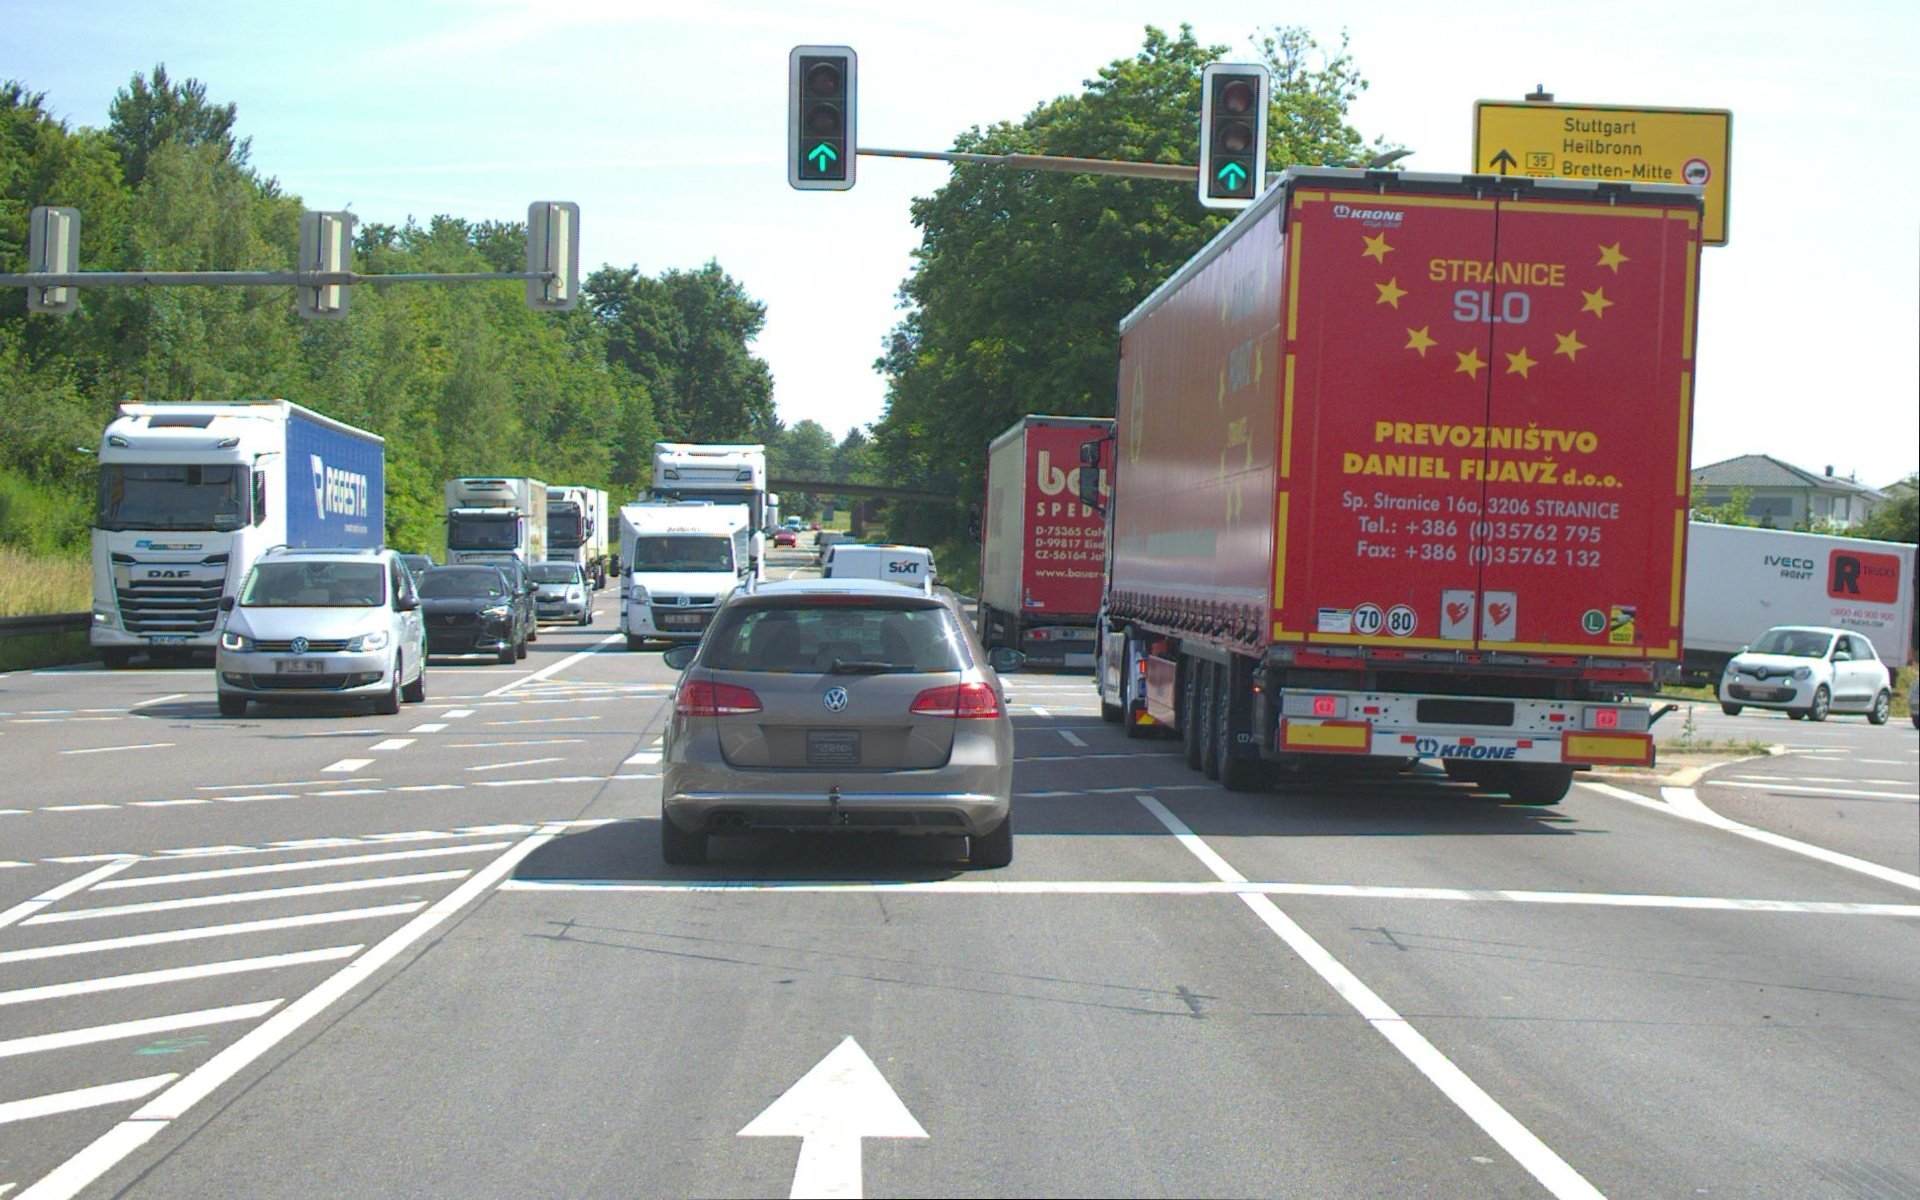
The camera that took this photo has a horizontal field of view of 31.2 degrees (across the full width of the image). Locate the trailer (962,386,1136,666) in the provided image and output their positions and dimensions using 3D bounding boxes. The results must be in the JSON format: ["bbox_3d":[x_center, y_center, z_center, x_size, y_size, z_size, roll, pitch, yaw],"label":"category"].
[{"bbox_3d":[1.355,-1.199,58.835,2.395,4.229,13.078,0,1,-1],"label":"trailer"}]

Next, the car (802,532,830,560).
[{"bbox_3d":[-10.709,-3.990,255.395,1.993,2.007,4.001,0,1,-3],"label":"car"}]

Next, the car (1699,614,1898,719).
[{"bbox_3d":[13.711,1.096,56.087,1.709,1.499,3.747,3,-1,38],"label":"car"}]

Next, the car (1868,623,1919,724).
[{"bbox_3d":[16.350,1.262,54.272,1.998,1.500,4.988,3,0,38],"label":"car"}]

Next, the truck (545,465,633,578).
[{"bbox_3d":[-13.930,-2.902,129.547,2.829,4.102,9.684,0,1,-3],"label":"truck"}]

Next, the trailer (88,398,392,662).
[{"bbox_3d":[-12.324,-1.162,60.360,3.093,4.066,14.129,0,1,-3],"label":"trailer"}]

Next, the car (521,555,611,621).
[{"bbox_3d":[-9.222,-0.299,80.780,1.725,1.497,4.000,0,1,-1],"label":"car"}]

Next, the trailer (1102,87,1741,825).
[{"bbox_3d":[3.071,-0.943,27.420,2.839,4.350,13.168,2,1,-1],"label":"trailer"}]

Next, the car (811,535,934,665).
[{"bbox_3d":[-1.392,-0.019,53.266,1.770,1.930,3.978,0,1,-3],"label":"car"}]

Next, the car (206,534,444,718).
[{"bbox_3d":[-6.602,0.211,36.184,1.843,1.726,4.589,2,1,-3],"label":"car"}]

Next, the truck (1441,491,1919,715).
[{"bbox_3d":[14.970,0.096,70.285,9.667,3.616,2.768,6,-1,-19],"label":"truck"}]

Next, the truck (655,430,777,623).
[{"bbox_3d":[-5.374,-1.585,75.860,2.536,4.074,6.267,0,1,-4],"label":"truck"}]

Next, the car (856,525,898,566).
[{"bbox_3d":[-4.132,-2.712,170.655,1.993,2.007,4.001,0,1,-3],"label":"car"}]

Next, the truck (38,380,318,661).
[{"bbox_3d":[-11.973,-1.193,53.196,3.187,4.066,6.347,0,1,-3],"label":"truck"}]

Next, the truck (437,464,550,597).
[{"bbox_3d":[-14.642,-2.143,108.505,2.728,3.985,9.621,0,1,-3],"label":"truck"}]

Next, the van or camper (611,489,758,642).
[{"bbox_3d":[-4.924,-0.630,62.343,2.330,2.591,6.979,0,1,-2],"label":"van or camper"}]

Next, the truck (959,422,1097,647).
[{"bbox_3d":[1.252,-1.239,65.909,2.406,4.113,5.521,0,1,-1],"label":"truck"}]

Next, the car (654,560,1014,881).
[{"bbox_3d":[-0.705,0.547,18.235,1.691,1.508,4.001,0,1,-3],"label":"car"}]

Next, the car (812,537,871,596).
[{"bbox_3d":[-4.167,-1.184,120.333,1.993,2.007,4.001,0,1,-3],"label":"car"}]

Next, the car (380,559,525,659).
[{"bbox_3d":[-7.812,0.107,53.223,1.993,1.480,4.455,0,1,-5],"label":"car"}]

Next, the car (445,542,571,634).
[{"bbox_3d":[-8.794,-0.253,67.151,1.993,1.720,4.000,0,1,-1],"label":"car"}]

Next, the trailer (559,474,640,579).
[{"bbox_3d":[-14.496,-2.927,138.747,2.840,4.056,8.757,0,1,-3],"label":"trailer"}]

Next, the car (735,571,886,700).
[{"bbox_3d":[-1.880,0.406,42.637,1.770,1.508,4.001,0,1,-3],"label":"car"}]

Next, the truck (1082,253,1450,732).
[{"bbox_3d":[2.904,-1.015,34.411,2.870,4.266,5.839,2,1,-1],"label":"truck"}]

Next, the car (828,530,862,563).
[{"bbox_3d":[-7.101,-3.324,212.576,1.993,2.007,4.001,0,1,-3],"label":"car"}]
